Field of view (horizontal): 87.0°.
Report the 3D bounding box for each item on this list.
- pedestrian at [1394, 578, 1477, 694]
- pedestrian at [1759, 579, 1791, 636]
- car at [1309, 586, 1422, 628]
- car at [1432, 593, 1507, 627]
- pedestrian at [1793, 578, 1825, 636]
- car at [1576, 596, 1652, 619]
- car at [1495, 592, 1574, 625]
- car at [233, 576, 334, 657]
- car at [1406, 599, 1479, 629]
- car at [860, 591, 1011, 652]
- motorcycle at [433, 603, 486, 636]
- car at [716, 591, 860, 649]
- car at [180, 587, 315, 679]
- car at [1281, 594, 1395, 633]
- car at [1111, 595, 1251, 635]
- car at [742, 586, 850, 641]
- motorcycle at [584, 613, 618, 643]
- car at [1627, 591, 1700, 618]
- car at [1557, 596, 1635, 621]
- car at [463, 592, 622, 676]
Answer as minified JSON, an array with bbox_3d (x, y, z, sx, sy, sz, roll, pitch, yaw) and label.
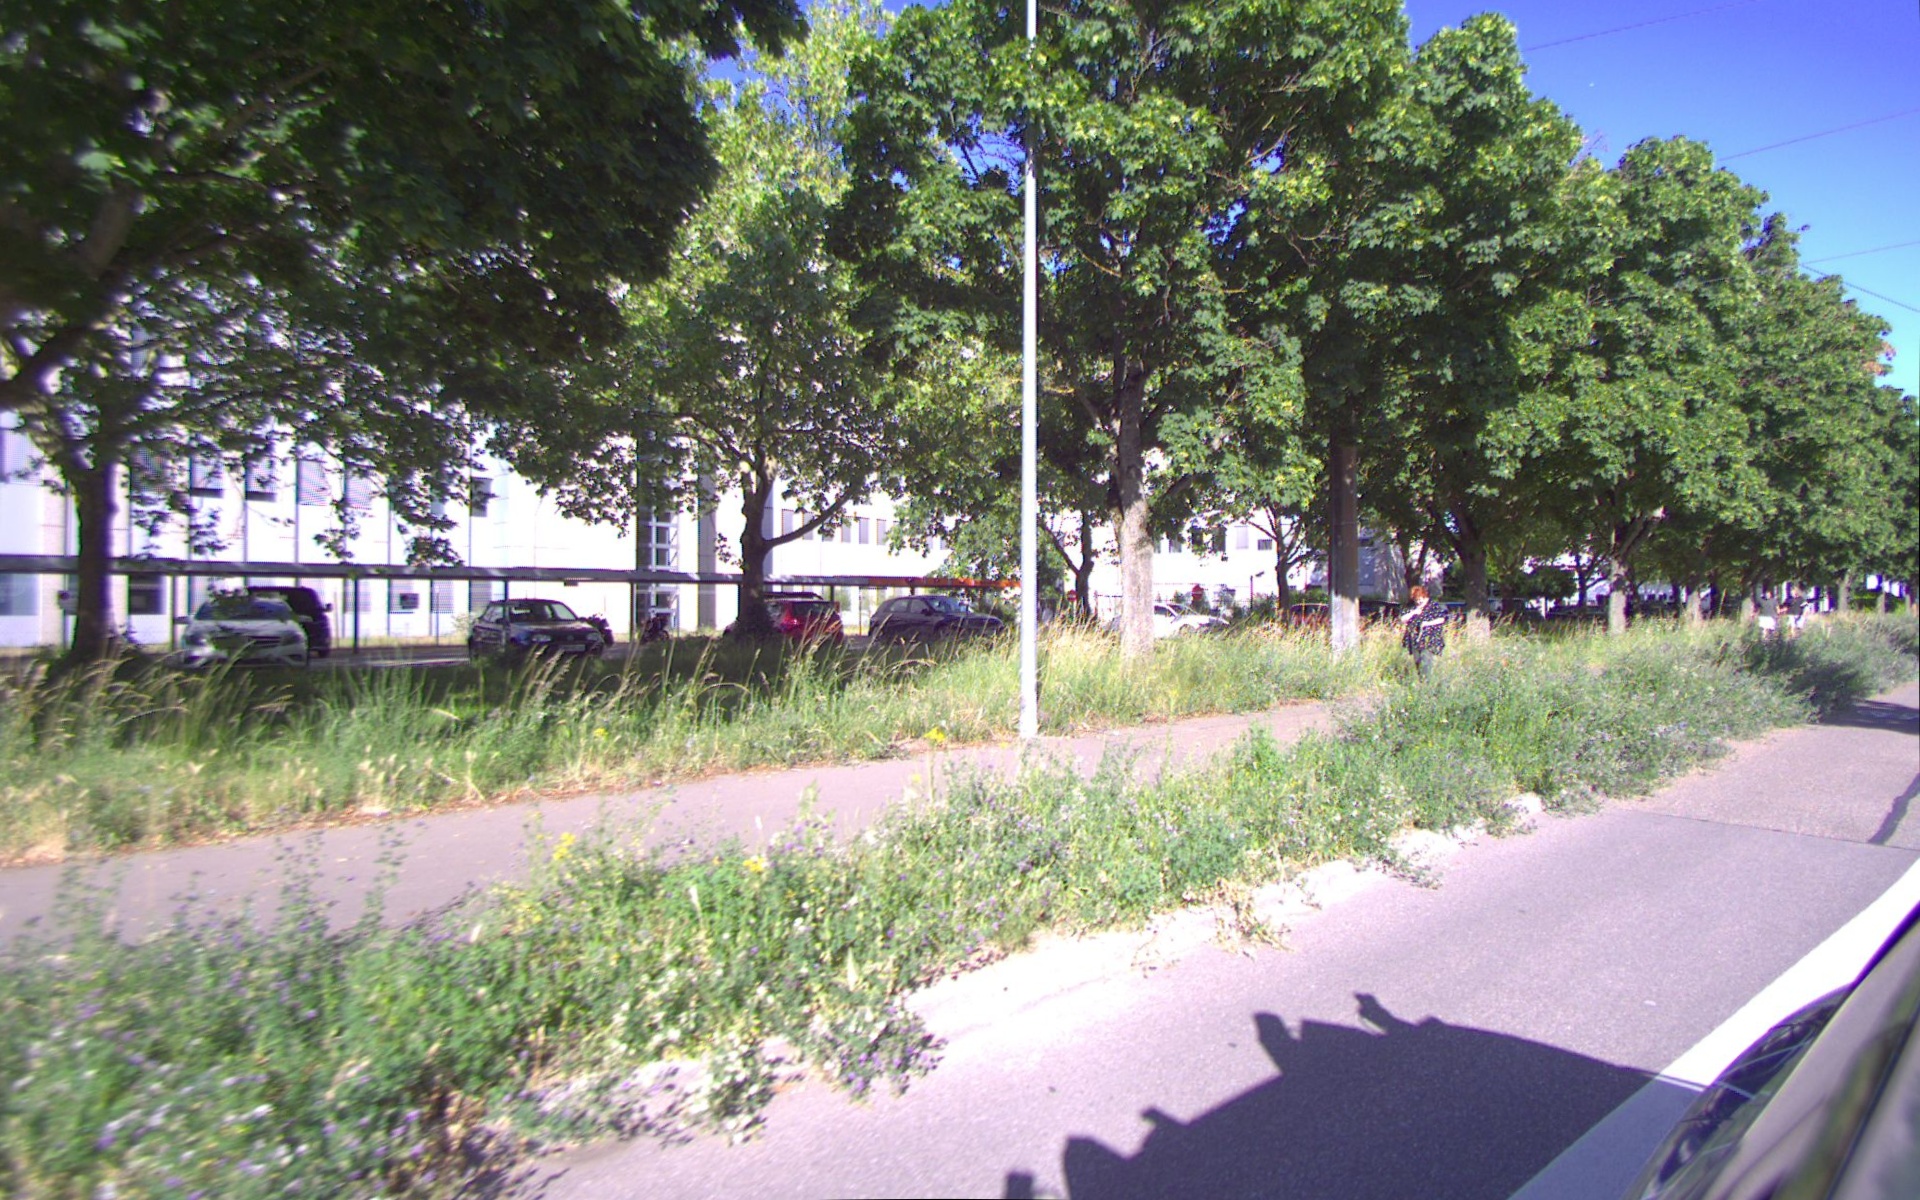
[{"bbox_3d":[6.808,0.499,14.509,0.749,1.589,0.826,0,-1,-40],"label":"pedestrian"},{"bbox_3d":[28.525,0.250,35.413,0.802,1.955,0.709,0,-1,-39],"label":"pedestrian"},{"bbox_3d":[17.951,0.272,44.930,4.329,1.721,1.740,1,1,40],"label":"car"},{"bbox_3d":[25.894,0.500,51.577,1.690,1.659,3.988,0,0,-1],"label":"car"},{"bbox_3d":[29.146,0.245,34.741,0.802,1.942,0.709,0,-1,-40],"label":"pedestrian"},{"bbox_3d":[43.112,0.469,66.850,1.811,1.467,4.553,0,0,-5],"label":"car"},{"bbox_3d":[32.383,0.483,57.243,1.886,1.774,5.445,0,0,7],"label":"car"},{"bbox_3d":[-18.722,0.407,27.928,1.922,2.039,4.595,0,0,-39],"label":"car"},{"bbox_3d":[23.390,0.654,49.213,1.677,1.358,3.985,0,0,1],"label":"car"},{"bbox_3d":[-0.778,0.554,28.852,1.852,1.617,4.395,0,0,-44],"label":"car"},{"bbox_3d":[-21.092,0.797,42.611,3.033,1.338,1.000,0,0,44],"label":"motorcycle"},{"bbox_3d":[-4.481,0.478,25.887,1.903,1.341,4.306,2,0,-36],"label":"car"},{"bbox_3d":[-12.856,0.539,18.187,1.791,1.450,4.176,0,0,-37],"label":"car"},{"bbox_3d":[16.168,0.528,43.398,4.225,1.555,1.740,1,1,40],"label":"car"},{"bbox_3d":[7.798,0.506,36.059,1.777,1.287,4.702,2,0,-43],"label":"car"},{"bbox_3d":[-6.408,0.480,39.182,1.940,1.975,4.757,1,0,-41],"label":"car"},{"bbox_3d":[-12.249,0.955,34.549,0.528,0.983,1.651,0,0,-41],"label":"motorcycle"},{"bbox_3d":[51.526,0.306,74.293,2.043,1.900,5.179,0,0,5],"label":"car"},{"bbox_3d":[40.381,0.524,64.374,1.811,1.535,4.553,0,0,-5],"label":"car"},{"bbox_3d":[-8.564,0.624,20.577,1.678,1.544,3.997,0,0,-44],"label":"car"}]
